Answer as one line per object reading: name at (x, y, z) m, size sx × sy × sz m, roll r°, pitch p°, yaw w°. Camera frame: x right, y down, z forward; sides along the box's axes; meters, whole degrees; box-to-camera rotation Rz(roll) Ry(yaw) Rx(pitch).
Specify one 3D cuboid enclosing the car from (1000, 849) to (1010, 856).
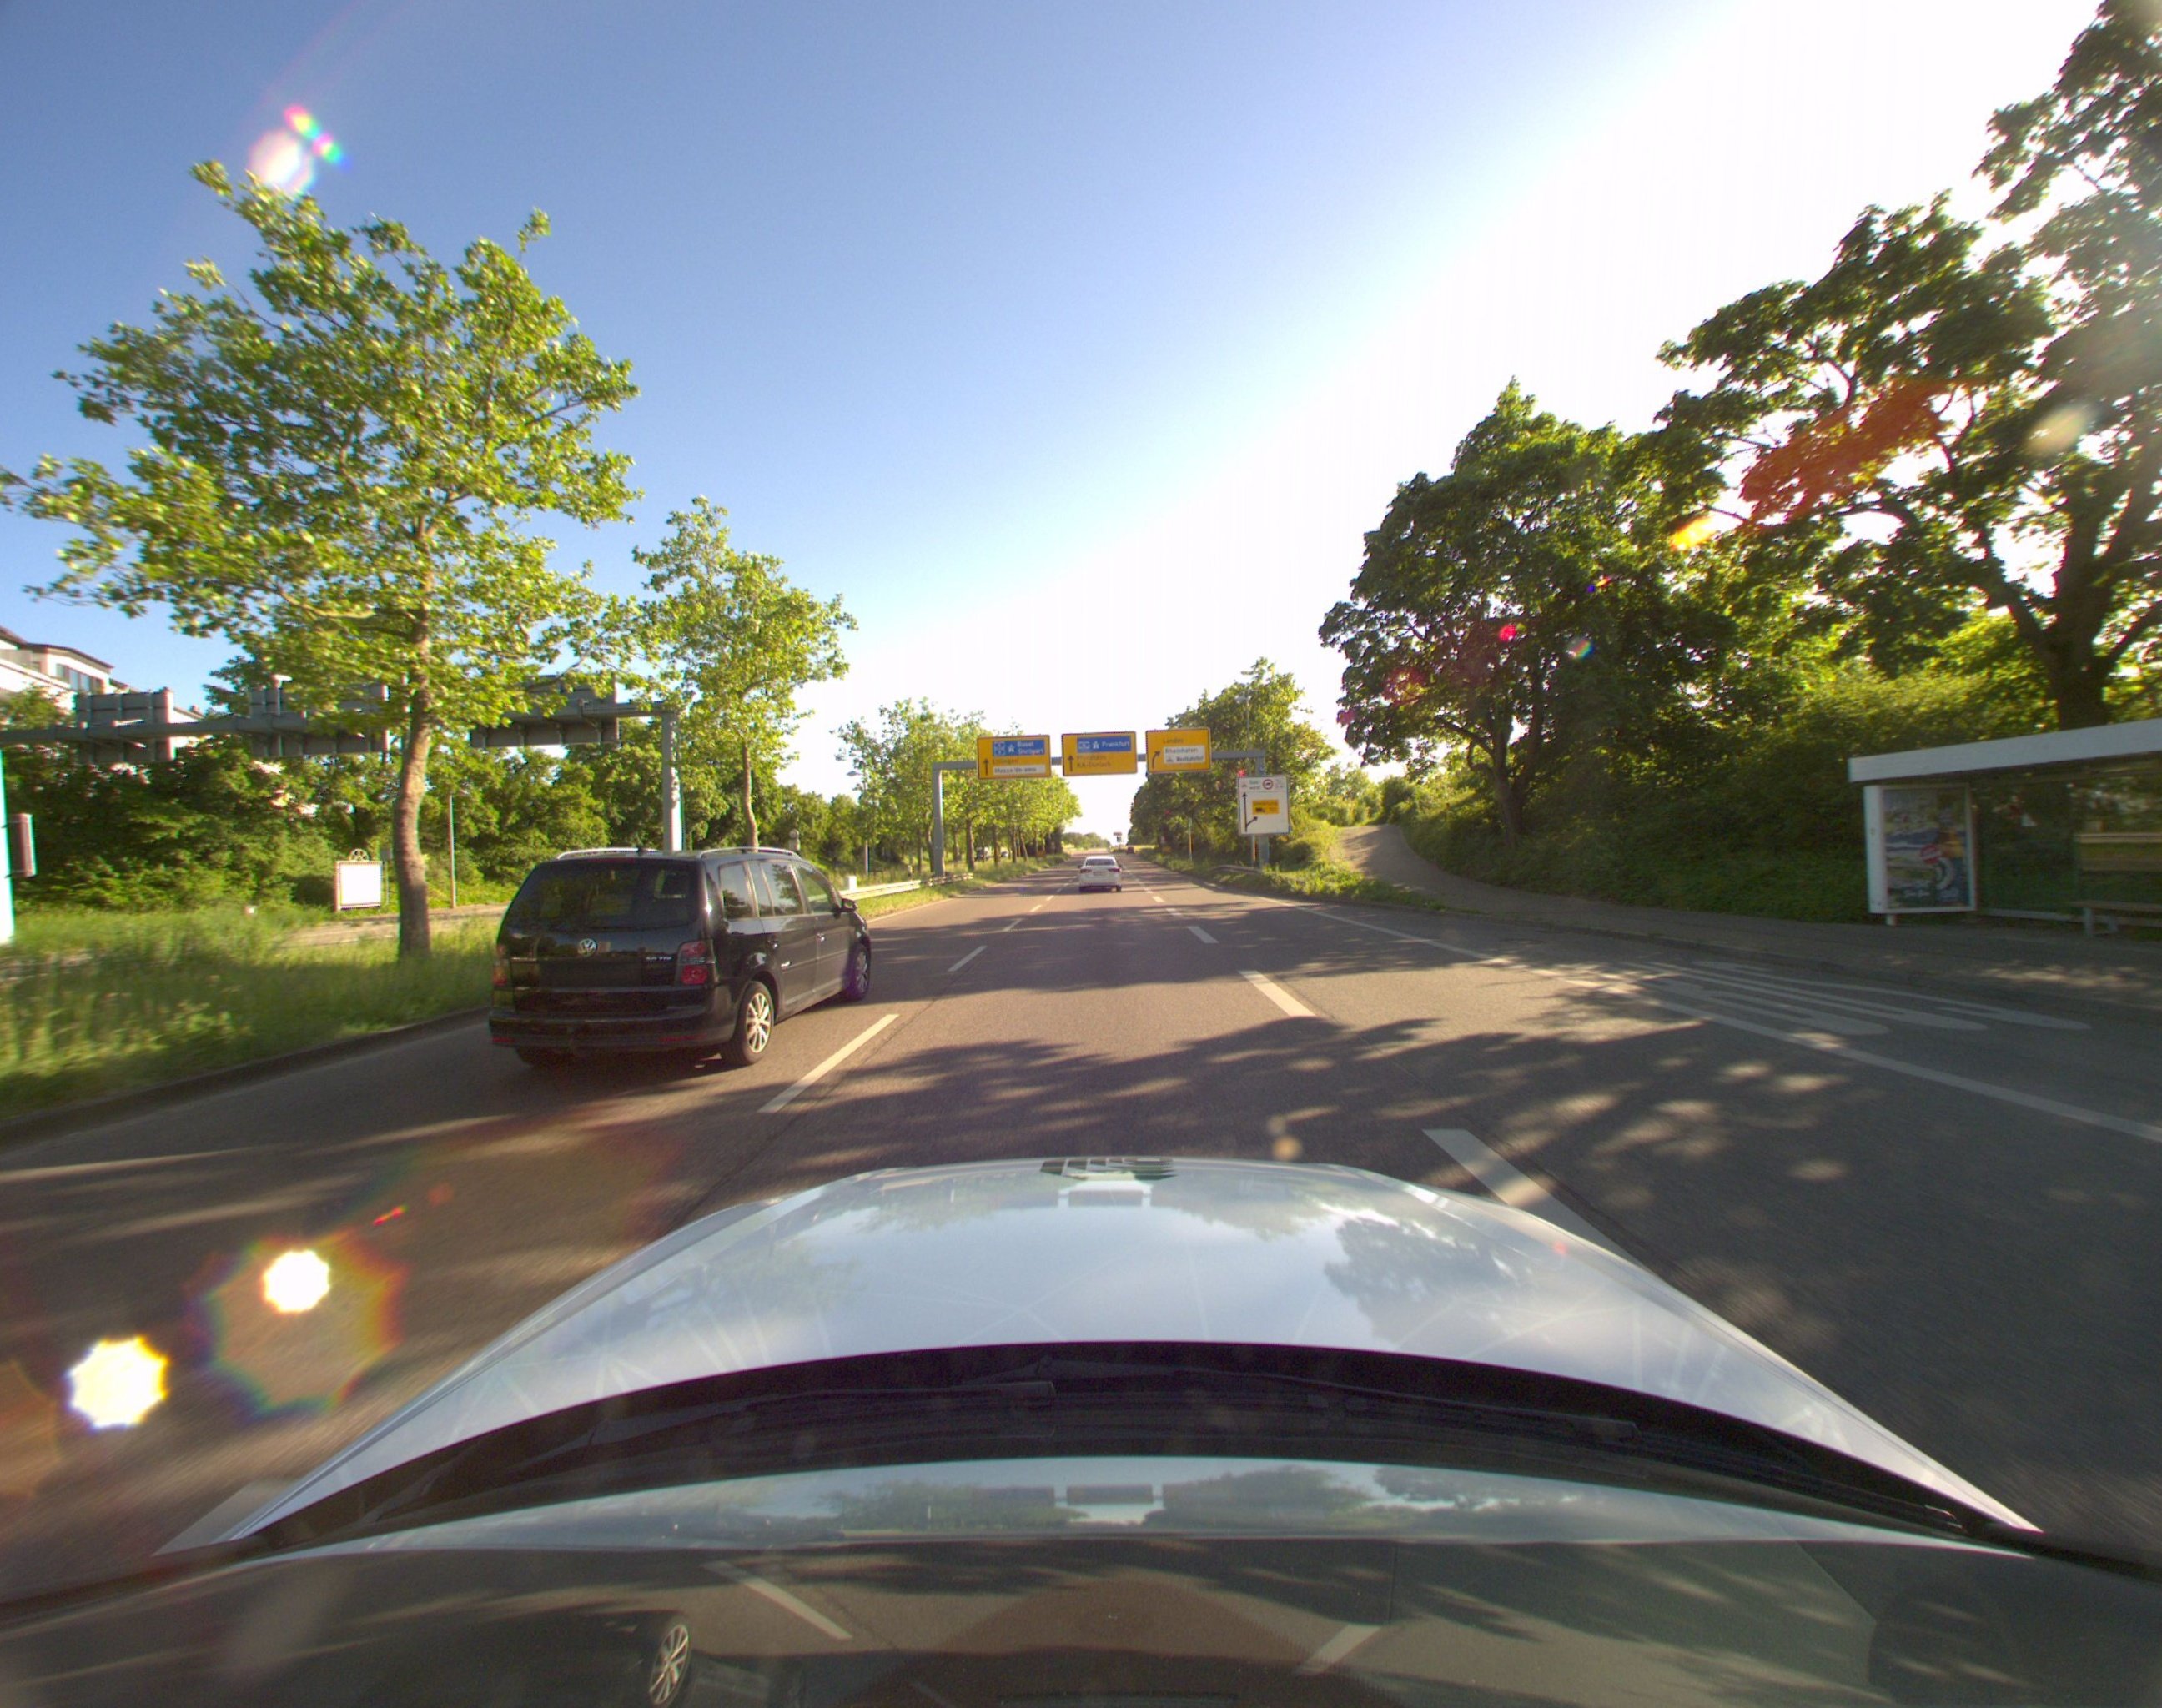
car at (-16.980, -0.359, 181.961) m, size 1.761 × 1.464 × 4.368 m, roll -2°, pitch 0°, yaw 2°

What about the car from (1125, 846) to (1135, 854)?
car at (9.829, -0.782, 163.477) m, size 1.760 × 1.464 × 4.370 m, roll -2°, pitch 0°, yaw 3°

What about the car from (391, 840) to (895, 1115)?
car at (-3.235, 0.760, 7.419) m, size 1.761 × 1.644 × 4.926 m, roll -1°, pitch 0°, yaw 2°

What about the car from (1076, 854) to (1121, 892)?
car at (0.824, 0.773, 35.436) m, size 1.760 × 1.464 × 4.369 m, roll -2°, pitch 0°, yaw 3°
